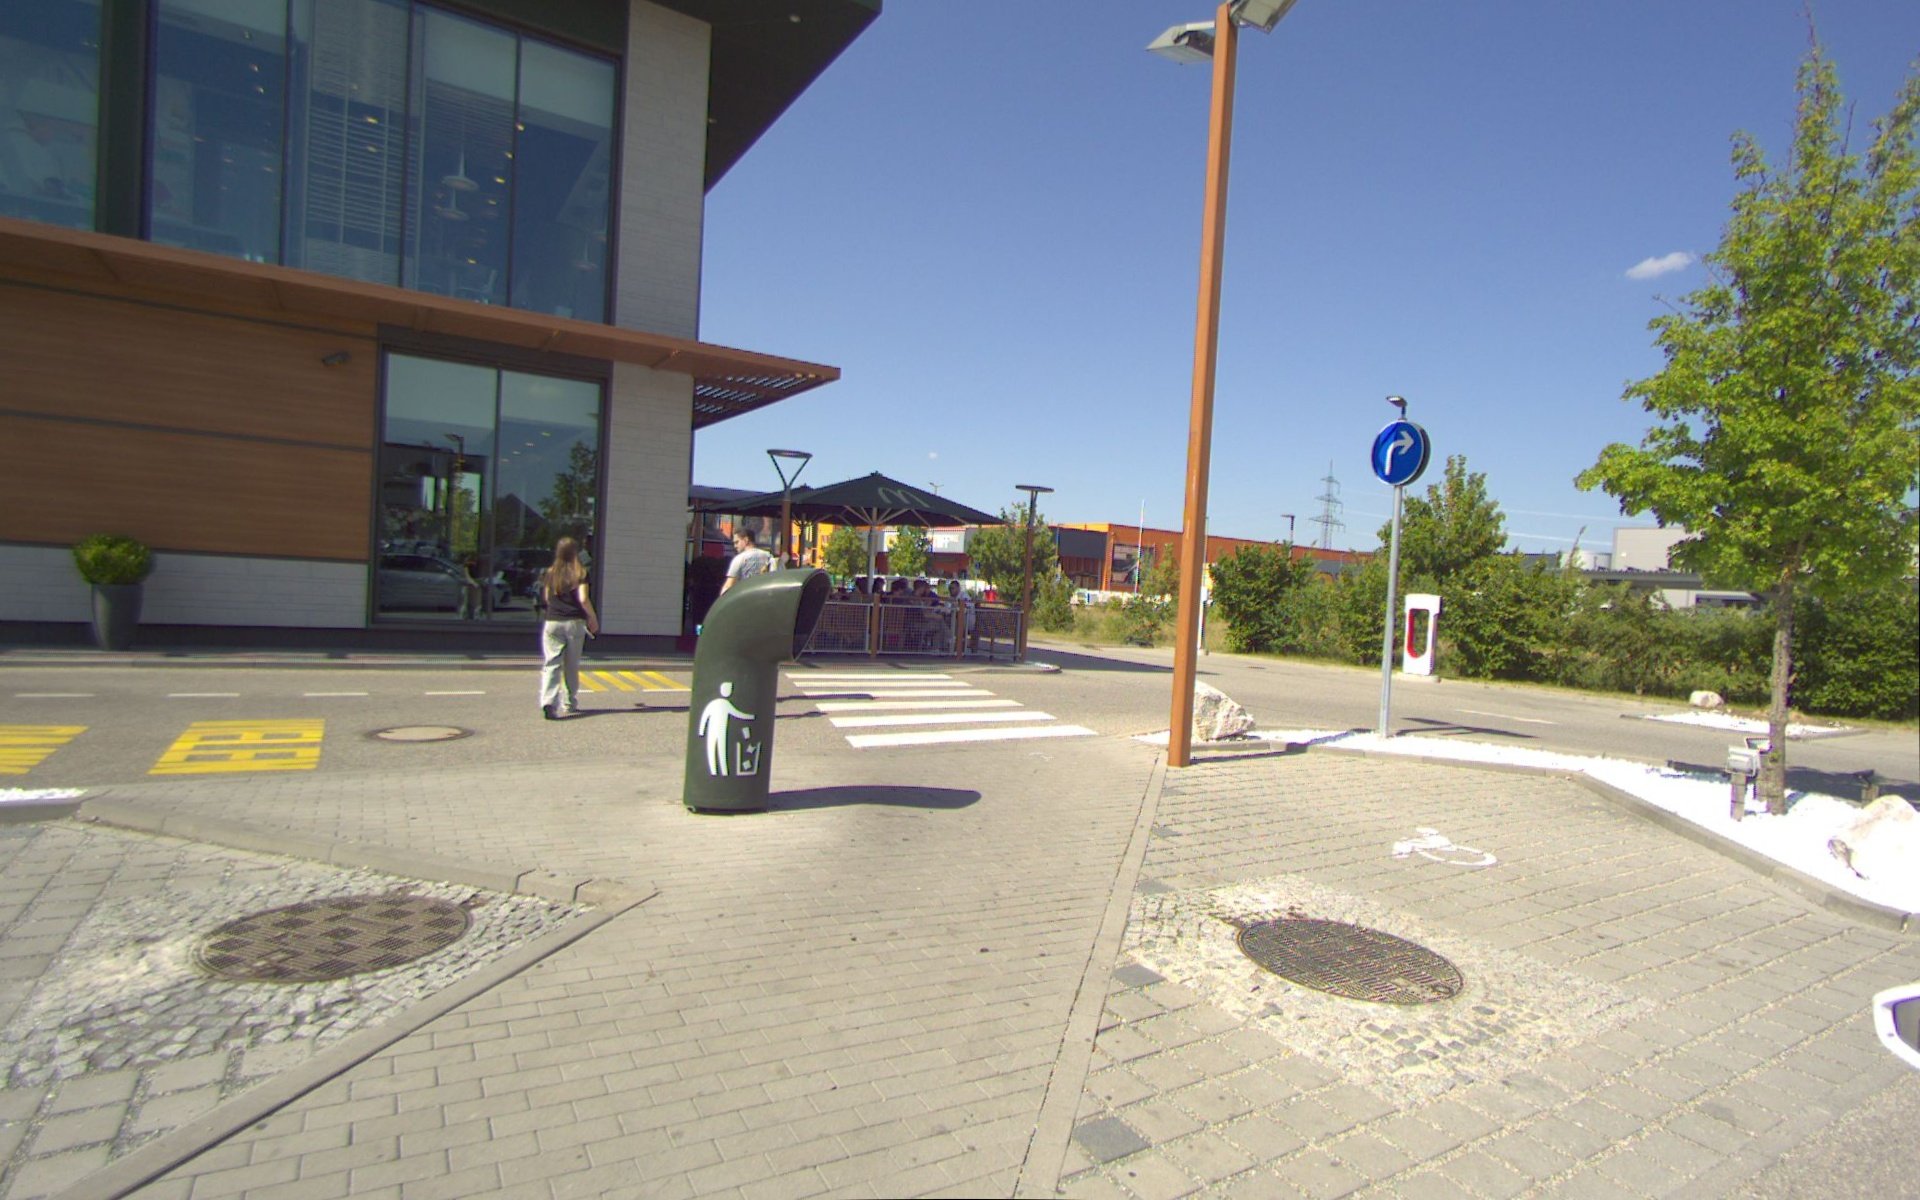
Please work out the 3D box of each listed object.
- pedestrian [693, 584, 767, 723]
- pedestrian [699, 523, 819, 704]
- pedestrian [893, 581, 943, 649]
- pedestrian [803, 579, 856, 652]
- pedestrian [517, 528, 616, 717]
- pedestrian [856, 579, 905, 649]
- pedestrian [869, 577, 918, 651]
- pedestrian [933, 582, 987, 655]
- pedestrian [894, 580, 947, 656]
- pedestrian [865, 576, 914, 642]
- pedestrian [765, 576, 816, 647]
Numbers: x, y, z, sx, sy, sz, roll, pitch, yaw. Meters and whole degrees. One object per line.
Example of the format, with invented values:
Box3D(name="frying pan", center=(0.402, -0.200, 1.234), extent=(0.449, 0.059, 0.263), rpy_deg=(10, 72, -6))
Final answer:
Box3D(name="pedestrian", center=(-2.090, 0.472, 9.121), extent=(0.444, 1.202, 0.486), rpy_deg=(2, 1, -37))
Box3D(name="pedestrian", center=(-2.104, 0.130, 10.498), extent=(0.889, 1.792, 0.794), rpy_deg=(2, 1, -40))
Box3D(name="pedestrian", center=(-0.811, 0.288, 19.479), extent=(0.723, 1.275, 0.567), rpy_deg=(2, 1, -36))
Box3D(name="pedestrian", center=(-2.109, 0.256, 16.244), extent=(0.628, 1.139, 0.519), rpy_deg=(2, 1, -35))
Box3D(name="pedestrian", center=(-3.507, 0.197, 8.967), extent=(0.730, 1.605, 0.725), rpy_deg=(2, 1, -21))
Box3D(name="pedestrian", center=(-1.495, 0.261, 18.970), extent=(0.709, 1.275, 0.519), rpy_deg=(2, 1, -35))
Box3D(name="pedestrian", center=(-1.178, 0.251, 17.765), extent=(0.628, 1.275, 0.519), rpy_deg=(2, 1, -35))
Box3D(name="pedestrian", center=(-0.003, 0.336, 18.206), extent=(0.723, 1.275, 0.567), rpy_deg=(2, 1, -36))
Box3D(name="pedestrian", center=(-0.684, 0.313, 17.373), extent=(0.709, 1.275, 0.519), rpy_deg=(2, 1, -35))
Box3D(name="pedestrian", center=(-1.413, 0.189, 20.108), extent=(0.723, 1.275, 0.567), rpy_deg=(2, 1, -36))
Box3D(name="pedestrian", center=(-2.808, 0.184, 16.648), extent=(0.628, 1.139, 0.519), rpy_deg=(2, 1, -35))
